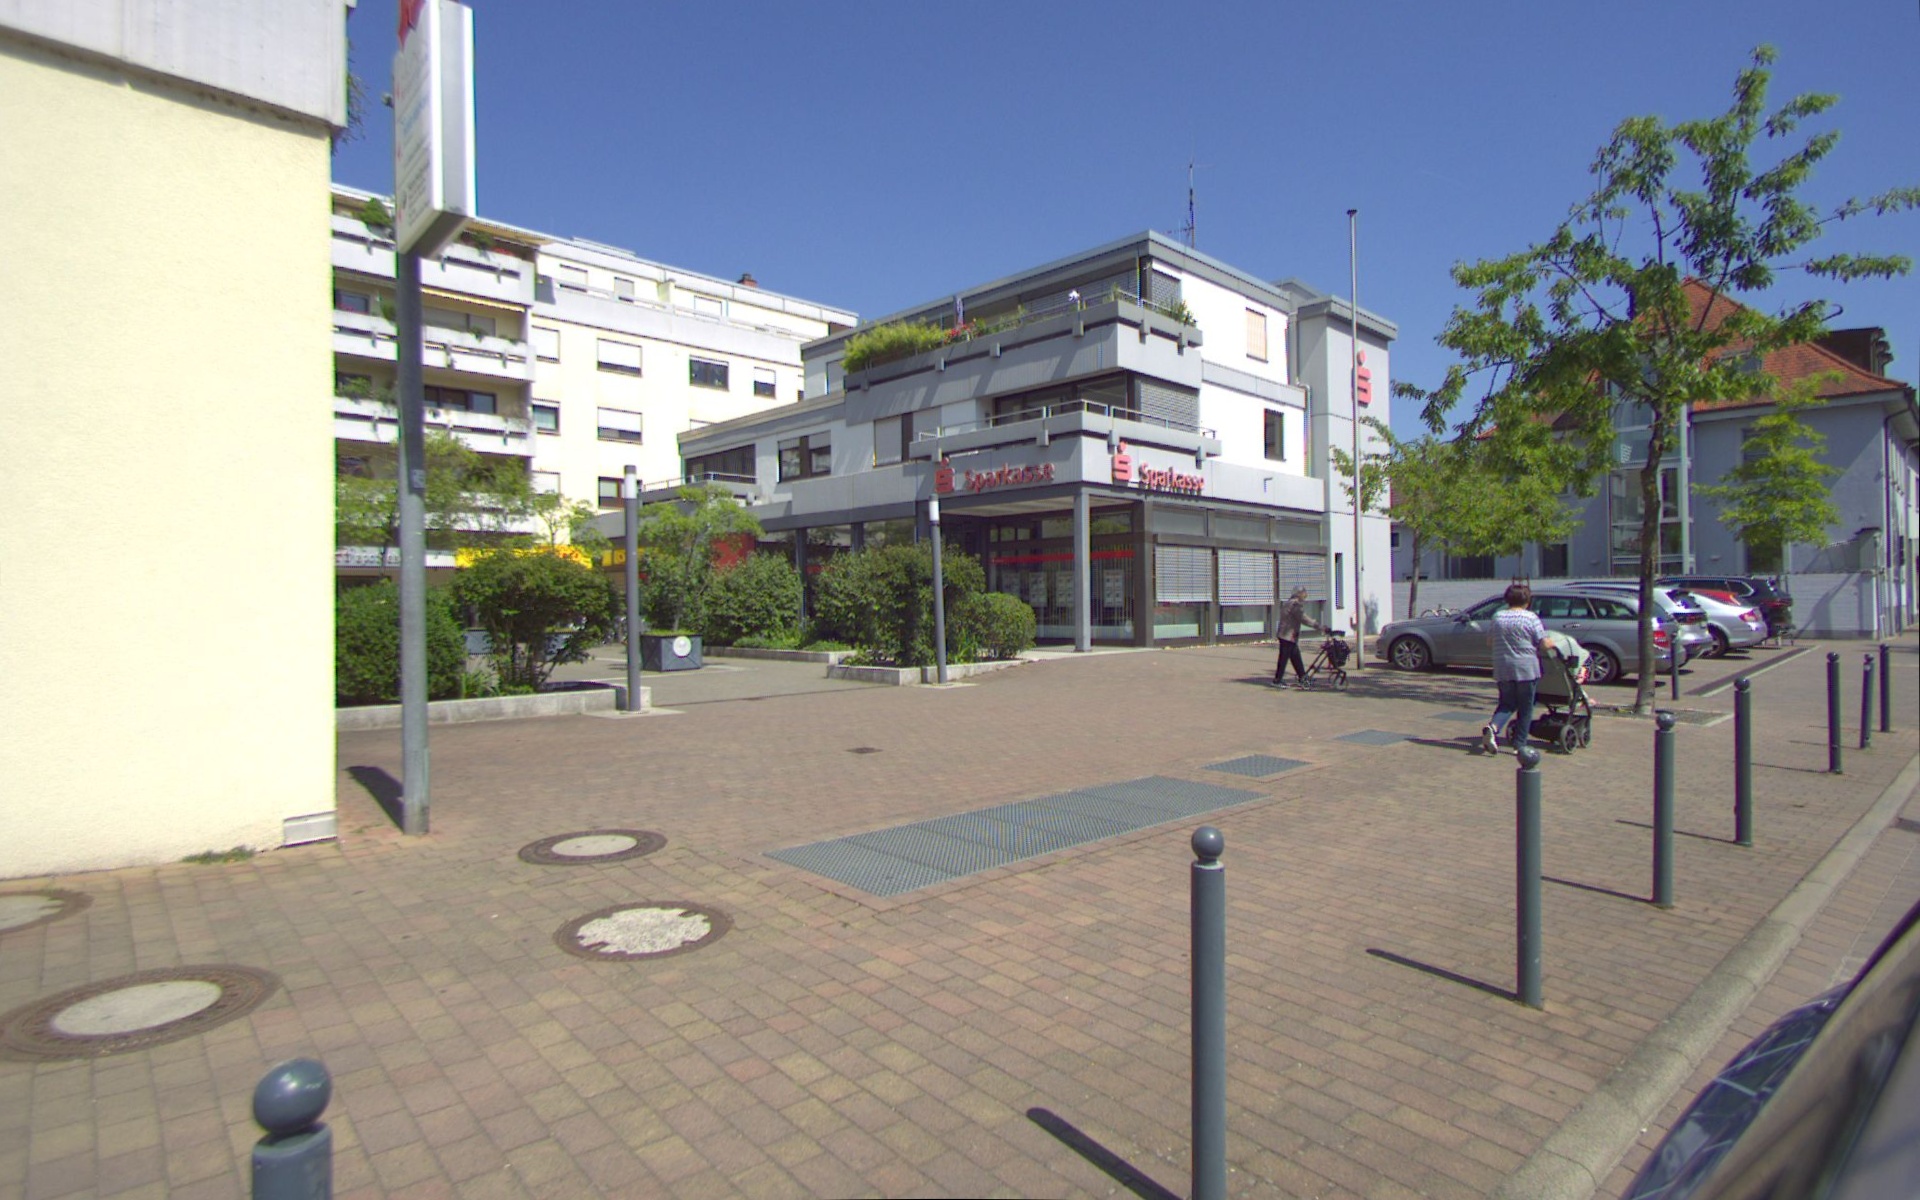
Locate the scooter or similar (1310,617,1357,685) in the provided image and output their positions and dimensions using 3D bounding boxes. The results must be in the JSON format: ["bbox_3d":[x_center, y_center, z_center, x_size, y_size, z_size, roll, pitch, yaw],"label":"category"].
[{"bbox_3d":[5.421,0.728,14.705,0.538,0.958,0.534,0,0,11],"label":"scooter or similar"}]

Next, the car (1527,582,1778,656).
[{"bbox_3d":[15.226,0.347,22.395,4.429,1.460,1.632,1,1,42],"label":"car"}]

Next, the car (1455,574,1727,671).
[{"bbox_3d":[11.554,0.328,18.704,4.033,1.579,1.686,1,1,43],"label":"car"}]

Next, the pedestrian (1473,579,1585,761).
[{"bbox_3d":[5.088,0.584,9.034,1.029,1.535,0.513,0,1,-39],"label":"pedestrian"}]

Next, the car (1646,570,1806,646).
[{"bbox_3d":[18.960,0.148,25.104,3.032,1.759,1.324,1,1,44],"label":"car"}]

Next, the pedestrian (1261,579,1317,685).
[{"bbox_3d":[4.813,0.461,14.832,0.713,1.520,0.530,0,0,13],"label":"pedestrian"}]

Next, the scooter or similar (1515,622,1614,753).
[{"bbox_3d":[5.682,0.793,9.506,0.892,1.132,0.506,0,1,-38],"label":"scooter or similar"}]

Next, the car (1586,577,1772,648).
[{"bbox_3d":[17.053,0.263,24.093,3.421,1.571,1.467,0,0,45],"label":"car"}]

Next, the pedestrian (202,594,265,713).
[{"bbox_3d":[-9.401,0.669,13.096,0.594,1.482,0.794,0,0,-40],"label":"pedestrian"}]

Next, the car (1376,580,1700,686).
[{"bbox_3d":[9.455,0.437,16.822,4.432,1.484,1.664,2,2,44],"label":"car"}]
